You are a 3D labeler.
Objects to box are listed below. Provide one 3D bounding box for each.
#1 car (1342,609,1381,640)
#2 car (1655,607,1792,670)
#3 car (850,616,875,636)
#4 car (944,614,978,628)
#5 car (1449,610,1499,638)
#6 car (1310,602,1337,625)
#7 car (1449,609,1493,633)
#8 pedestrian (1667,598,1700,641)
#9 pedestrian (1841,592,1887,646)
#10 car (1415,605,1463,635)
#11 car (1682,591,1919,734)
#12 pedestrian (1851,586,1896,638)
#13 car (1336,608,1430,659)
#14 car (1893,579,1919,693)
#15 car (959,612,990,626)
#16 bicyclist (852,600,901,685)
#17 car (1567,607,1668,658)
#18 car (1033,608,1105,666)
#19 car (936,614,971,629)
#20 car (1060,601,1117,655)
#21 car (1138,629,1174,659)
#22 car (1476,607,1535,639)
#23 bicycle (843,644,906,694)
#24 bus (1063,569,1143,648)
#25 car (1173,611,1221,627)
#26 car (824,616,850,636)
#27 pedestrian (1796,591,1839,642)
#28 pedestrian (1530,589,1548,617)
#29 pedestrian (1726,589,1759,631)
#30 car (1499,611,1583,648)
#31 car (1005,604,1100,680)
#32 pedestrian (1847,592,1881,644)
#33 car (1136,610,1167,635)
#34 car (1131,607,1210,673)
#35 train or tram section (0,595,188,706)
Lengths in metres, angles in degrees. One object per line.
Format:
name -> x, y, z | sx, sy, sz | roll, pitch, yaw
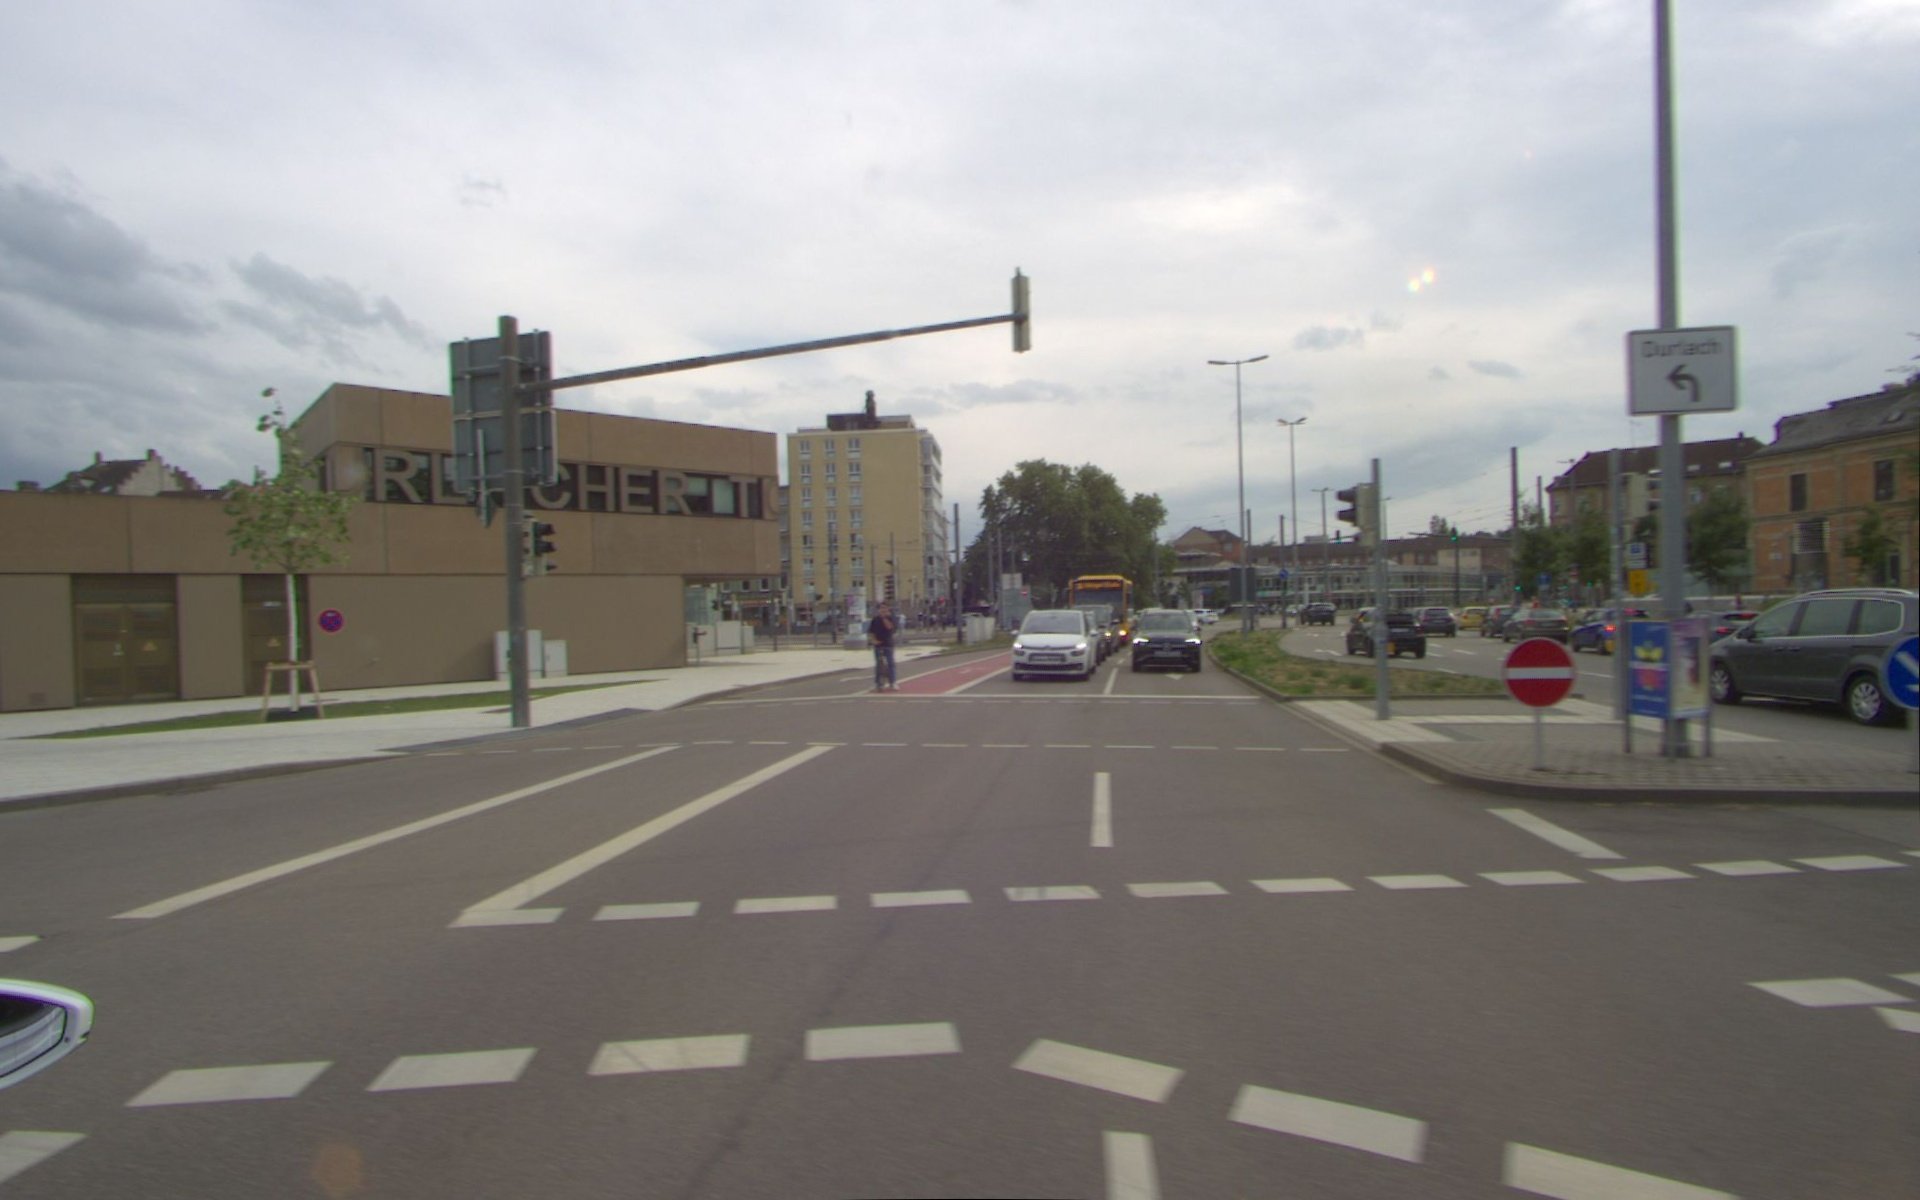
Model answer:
car -> 19.613, 1.180, 48.860 | 1.672, 1.423, 3.691 | 0, -1, 23
car -> 19.766, 0.967, 26.106 | 1.641, 1.527, 3.630 | 0, -1, 16
car -> -10.305, 2.769, 106.362 | 1.961, 2.040, 4.000 | 0, -1, 5
car -> 0.151, 2.566, 121.513 | 3.923, 1.706, 1.605 | 0, -1, 8
car -> 27.546, 1.304, 53.799 | 1.678, 1.438, 3.696 | 0, -1, 16
car -> 27.001, 0.991, 74.405 | 1.808, 1.636, 3.540 | 0, -1, 20
car -> 31.247, 1.274, 61.340 | 1.678, 1.438, 3.696 | 0, -1, 16
pedestrian -> 27.666, 0.742, 38.310 | 0.767, 1.594, 0.810 | -3, 0, 22
pedestrian -> 27.962, 0.581, 30.993 | 0.767, 1.594, 0.810 | -3, 0, 22
car -> 23.877, 0.994, 50.020 | 1.686, 1.438, 3.994 | 0, -1, 19
car -> 12.253, 0.773, 13.681 | 1.726, 1.672, 4.686 | 0, -1, 5
pedestrian -> 29.366, 0.387, 32.208 | 0.767, 1.594, 0.810 | -3, 0, 22
car -> 13.130, 1.011, 31.276 | 1.639, 1.509, 3.441 | 0, -1, 3
car -> 17.279, 0.593, 15.278 | 1.790, 1.985, 5.204 | 0, -1, 8
car -> 1.905, 2.527, 132.848 | 3.923, 1.706, 1.605 | 0, -1, 8
bicyclist -> -1.696, 0.851, 20.389 | 0.853, 1.691, 0.881 | 0, 0, 5
car -> 21.441, 1.037, 32.825 | 1.831, 1.552, 3.995 | 0, -1, 20
car -> 3.461, 1.104, 31.167 | 1.962, 1.672, 4.289 | 0, -1, 10
car -> -0.738, 2.486, 117.548 | 3.923, 1.706, 1.605 | 0, -1, 8
car -> 4.932, 1.046, 37.983 | 1.962, 1.923, 4.289 | 0, -1, 10
car -> 11.641, 2.596, 59.715 | 1.962, 1.672, 4.511 | 0, -1, 10
car -> 26.007, 1.079, 47.807 | 1.678, 1.438, 3.696 | 0, -1, 16
bicycle -> -1.710, 1.367, 20.380 | 0.848, 0.888, 2.519 | 0, -1, 5
bus -> 7.076, 0.480, 47.974 | 3.098, 3.297, 12.408 | 0, -1, 11
car -> 21.524, 1.735, 91.091 | 3.950, 1.438, 1.704 | 0, -1, 39
car -> -13.062, 2.753, 106.510 | 1.961, 2.040, 4.000 | 0, -1, 5
pedestrian -> 27.938, 0.537, 32.638 | 0.767, 1.594, 0.810 | -3, 0, 22
pedestrian -> 34.184, 0.169, 59.130 | 0.767, 1.594, 0.810 | -3, 0, 22
pedestrian -> 30.428, 0.394, 38.963 | 0.767, 1.594, 0.810 | -3, 0, 22
car -> 23.654, 1.178, 40.905 | 2.100, 1.438, 3.696 | 0, -1, 16
car -> 2.338, 0.969, 24.316 | 1.962, 1.672, 4.289 | 0, -1, 10
pedestrian -> 27.921, 0.551, 30.923 | 0.540, 1.556, 0.548 | -3, 0, -24
car -> 13.141, 1.547, 68.863 | 1.962, 1.672, 4.511 | 0, -1, 10
car -> 5.735, 1.054, 27.713 | 1.962, 1.672, 4.511 | 0, -1, 10
train or tram section -> -29.710, 1.518, 30.698 | 9.405, 3.289, 3.034 | 1, -1, -42
